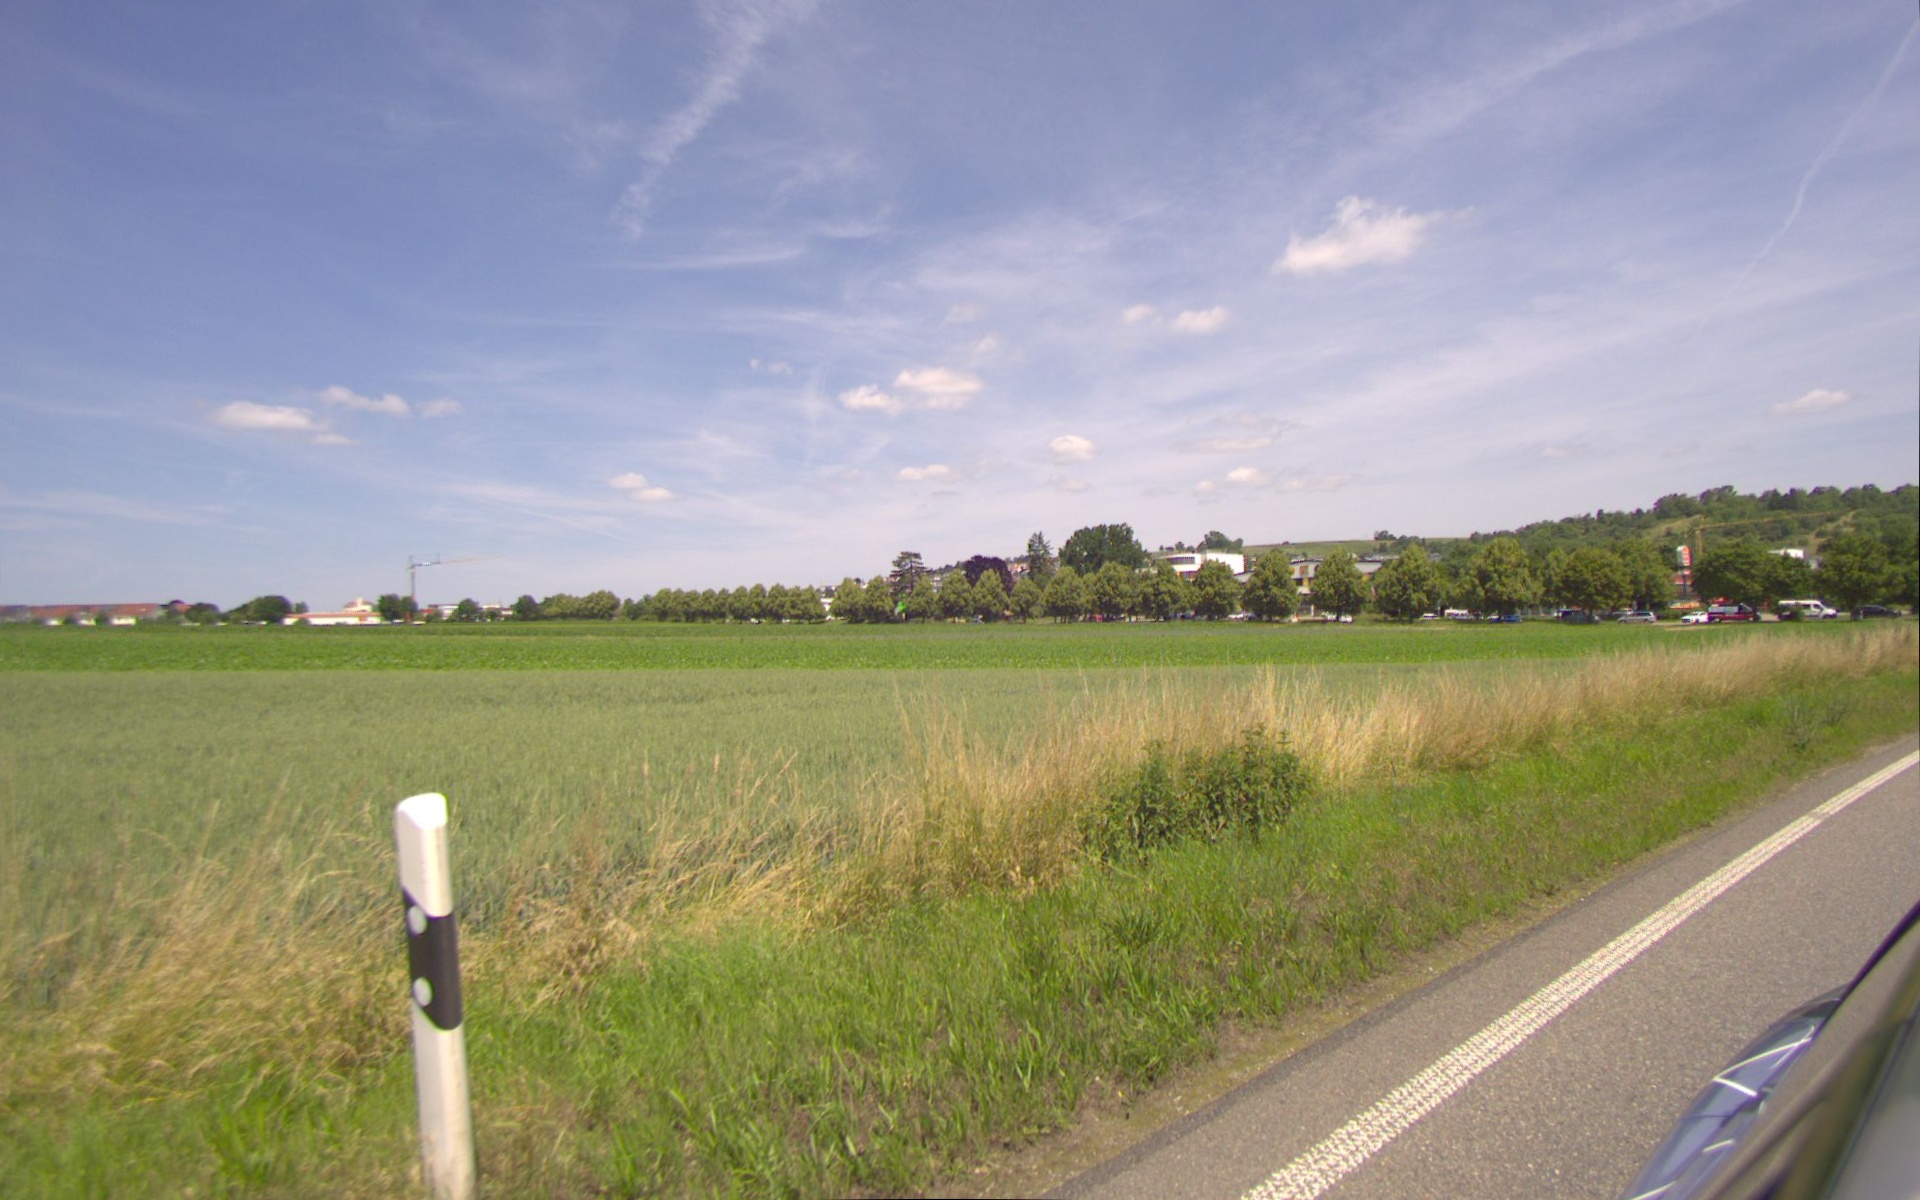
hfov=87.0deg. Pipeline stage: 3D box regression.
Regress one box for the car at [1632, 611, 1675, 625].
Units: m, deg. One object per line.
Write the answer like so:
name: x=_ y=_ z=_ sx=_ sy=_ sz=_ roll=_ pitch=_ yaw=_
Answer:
car: x=94.462 y=2.432 z=137.946 sx=4.511 sy=1.713 sz=1.837 roll=-3 pitch=0 yaw=45

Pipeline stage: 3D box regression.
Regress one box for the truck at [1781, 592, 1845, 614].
truck: x=102.528 y=0.349 z=121.641 sx=2.021 sy=2.396 sz=5.620 roll=-2 pitch=-1 yaw=-45

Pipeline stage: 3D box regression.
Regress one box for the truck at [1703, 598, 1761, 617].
truck: x=96.836 y=0.947 z=126.990 sx=1.771 sy=2.001 sz=5.459 roll=-2 pitch=-1 yaw=-44

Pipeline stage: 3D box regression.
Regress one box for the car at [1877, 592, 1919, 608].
car: x=118.368 y=-0.007 z=127.452 sx=3.977 sy=1.848 sz=1.798 roll=-3 pitch=-1 yaw=38

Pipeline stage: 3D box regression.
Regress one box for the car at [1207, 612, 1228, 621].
car: x=54.637 y=3.492 z=214.628 sx=1.712 sy=1.650 sz=3.997 roll=-2 pitch=-1 yaw=-37

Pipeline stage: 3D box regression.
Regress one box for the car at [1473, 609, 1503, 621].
car: x=88.494 y=2.524 z=169.755 sx=1.789 sy=1.848 sz=3.997 roll=-2 pitch=-1 yaw=-37

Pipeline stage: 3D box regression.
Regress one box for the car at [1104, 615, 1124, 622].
car: x=36.465 y=4.376 z=239.862 sx=1.837 sy=1.611 sz=4.808 roll=-2 pitch=-1 yaw=-37

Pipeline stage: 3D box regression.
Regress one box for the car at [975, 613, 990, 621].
car: x=5.555 y=4.181 z=253.447 sx=1.839 sy=1.822 sz=4.002 roll=-2 pitch=-1 yaw=-30

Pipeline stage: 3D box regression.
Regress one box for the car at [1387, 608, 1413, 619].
car: x=79.713 y=2.456 z=183.291 sx=1.702 sy=1.848 sz=3.997 roll=-2 pitch=-1 yaw=-37

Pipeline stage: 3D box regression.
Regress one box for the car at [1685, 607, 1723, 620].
car: x=101.066 y=1.853 z=137.459 sx=4.407 sy=1.579 sz=1.880 roll=-3 pitch=-1 yaw=-17

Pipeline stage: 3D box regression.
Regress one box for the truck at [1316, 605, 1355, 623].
truck: x=64.242 y=2.434 z=173.274 sx=2.035 sy=2.770 sz=5.941 roll=-5 pitch=2 yaw=-35

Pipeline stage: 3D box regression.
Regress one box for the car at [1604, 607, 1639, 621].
car: x=100.439 y=2.153 z=153.698 sx=1.789 sy=1.848 sz=3.997 roll=-2 pitch=-1 yaw=-37
